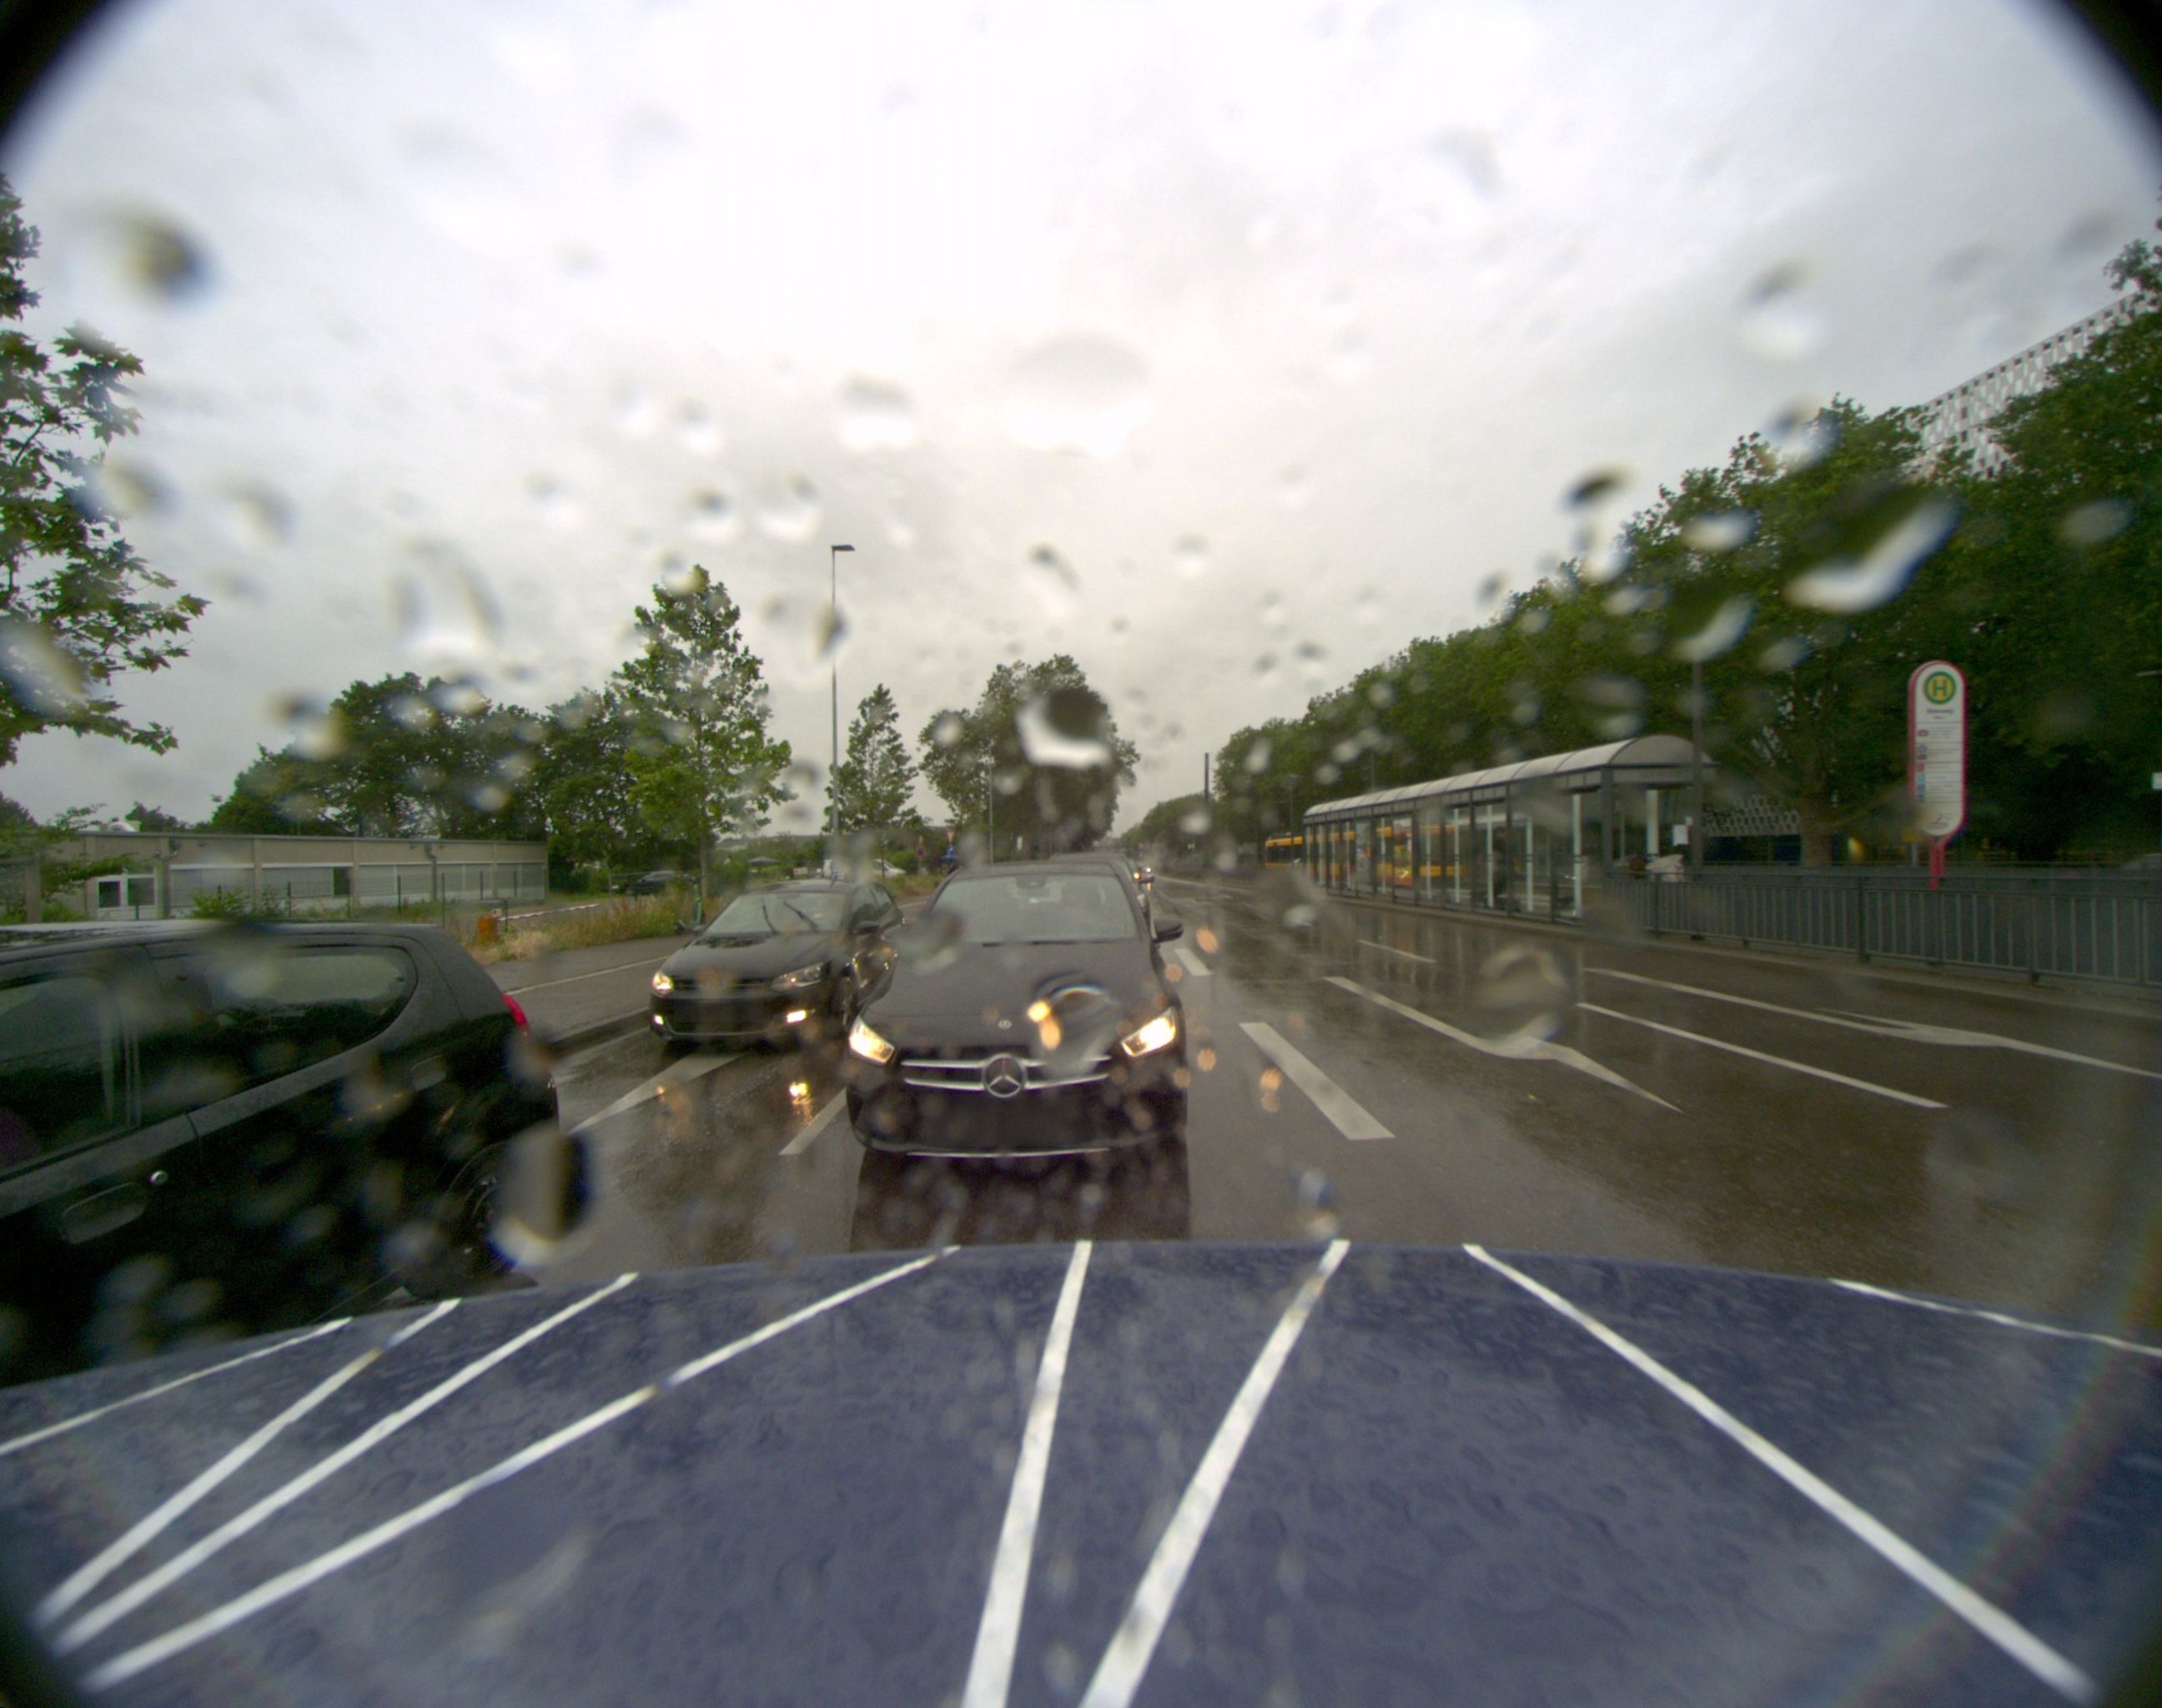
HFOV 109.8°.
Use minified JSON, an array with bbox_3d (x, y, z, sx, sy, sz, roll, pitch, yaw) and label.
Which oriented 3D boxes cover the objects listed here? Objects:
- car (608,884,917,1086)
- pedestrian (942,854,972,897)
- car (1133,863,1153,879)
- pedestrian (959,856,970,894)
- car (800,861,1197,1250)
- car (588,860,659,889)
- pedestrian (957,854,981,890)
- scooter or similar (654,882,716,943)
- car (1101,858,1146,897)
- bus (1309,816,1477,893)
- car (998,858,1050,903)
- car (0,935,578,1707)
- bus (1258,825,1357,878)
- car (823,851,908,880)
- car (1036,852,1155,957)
[{"bbox_3d":[-2.921,1.113,7.854,1.633,1.420,3.624,-2,0,0],"label":"car"},{"bbox_3d":[-5.174,0.887,31.716,1.082,1.746,0.969,0,1,0],"label":"pedestrian"},{"bbox_3d":[6.182,1.667,76.561,1.766,1.390,4.645,-2,0,2],"label":"car"},{"bbox_3d":[-5.191,0.923,33.868,0.401,1.652,0.441,1,1,0],"label":"pedestrian"},{"bbox_3d":[-0.334,0.918,5.436,1.690,1.578,4.163,-2,1,1],"label":"car"},{"bbox_3d":[-33.960,1.510,56.521,3.996,2.002,2.000,-2,1,2],"label":"car"},{"bbox_3d":[-5.459,0.872,37.087,1.025,1.698,0.891,1,1,0],"label":"pedestrian"},{"bbox_3d":[-8.210,1.182,15.809,0.381,1.123,1.777,0,1,-1],"label":"scooter or similar"},{"bbox_3d":[1.915,1.035,35.283,1.794,1.597,3.999,-2,1,0],"label":"car"},{"bbox_3d":[16.101,-0.052,41.237,2.938,3.310,15.061,-2,1,1],"label":"bus"},{"bbox_3d":[-2.228,1.018,30.460,1.698,1.565,3.813,-2,1,1],"label":"car"},{"bbox_3d":[-3.001,1.080,1.448,1.633,1.420,3.624,-2,0,0],"label":"car"},{"bbox_3d":[16.295,-0.256,56.382,2.938,3.310,15.061,-2,1,1],"label":"bus"},{"bbox_3d":[-13.539,0.705,48.018,4.759,1.640,1.999,-2,1,-2],"label":"car"},{"bbox_3d":[0.204,0.723,12.543,1.633,1.420,3.624,-2,0,0],"label":"car"}]
